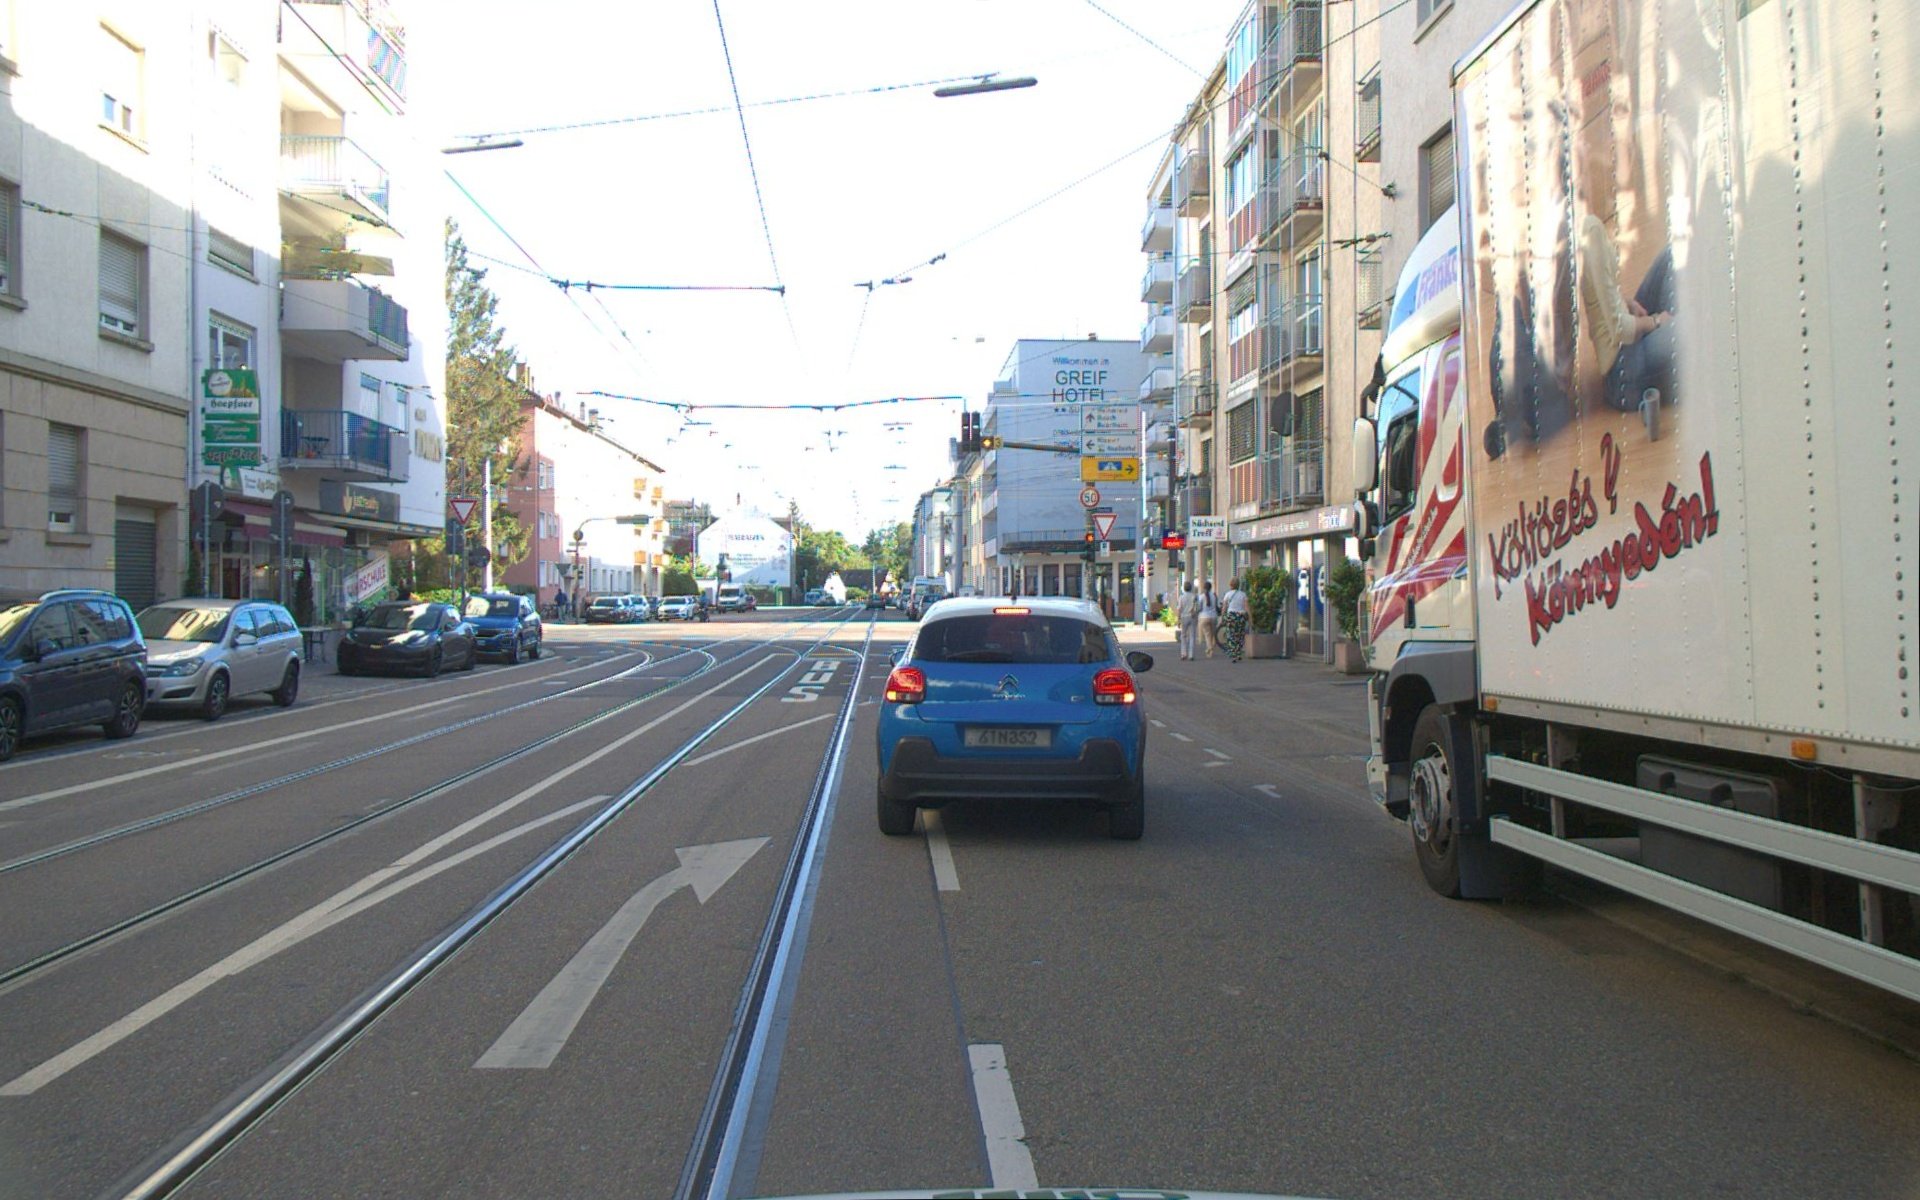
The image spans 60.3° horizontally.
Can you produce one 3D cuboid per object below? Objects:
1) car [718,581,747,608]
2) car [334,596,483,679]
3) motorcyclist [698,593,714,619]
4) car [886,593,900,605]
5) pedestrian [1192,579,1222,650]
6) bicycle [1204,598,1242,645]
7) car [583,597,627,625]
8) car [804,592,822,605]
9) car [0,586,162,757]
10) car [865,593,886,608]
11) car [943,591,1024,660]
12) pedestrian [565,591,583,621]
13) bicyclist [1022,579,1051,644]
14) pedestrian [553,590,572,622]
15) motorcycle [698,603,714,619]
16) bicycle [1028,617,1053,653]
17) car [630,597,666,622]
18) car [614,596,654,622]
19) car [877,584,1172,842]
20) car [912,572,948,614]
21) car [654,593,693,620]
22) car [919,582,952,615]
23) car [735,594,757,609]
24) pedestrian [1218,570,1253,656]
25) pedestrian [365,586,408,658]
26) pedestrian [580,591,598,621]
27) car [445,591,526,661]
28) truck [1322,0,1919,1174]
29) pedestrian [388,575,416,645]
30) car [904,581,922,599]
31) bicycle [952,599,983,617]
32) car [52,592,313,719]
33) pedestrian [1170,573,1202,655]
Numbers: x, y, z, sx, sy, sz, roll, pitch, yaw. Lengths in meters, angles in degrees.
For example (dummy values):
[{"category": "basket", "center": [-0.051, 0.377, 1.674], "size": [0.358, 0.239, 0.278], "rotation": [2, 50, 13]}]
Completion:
[{"category": "car", "center": [-19.617, -0.453, 142.763], "size": [2.163, 2.290, 4.673], "rotation": [-1, 0, -3]}, {"category": "car", "center": [-10.947, 0.716, 33.141], "size": [1.665, 1.536, 4.310], "rotation": [1, 0, -2]}, {"category": "motorcyclist", "center": [-13.910, 0.307, 90.600], "size": [0.704, 1.402, 0.911], "rotation": [-1, 0, 1]}, {"category": "car", "center": [-10.420, -0.149, 256.671], "size": [1.952, 1.825, 4.000], "rotation": [0, 0, 0]}, {"category": "pedestrian", "center": [5.502, 0.318, 36.870], "size": [0.530, 1.534, 0.611], "rotation": [-2, 2, -2]}, {"category": "bicycle", "center": [6.267, 0.503, 39.452], "size": [0.519, 1.091, 1.810], "rotation": [-1, 0, -3]}, {"category": "car", "center": [-19.805, 0.603, 92.339], "size": [1.874, 1.458, 3.996], "rotation": [-1, 0, -5]}, {"category": "car", "center": [-17.127, -0.205, 192.916], "size": [1.981, 1.552, 3.997], "rotation": [0, 0, -4]}, {"category": "car", "center": [-10.045, 0.675, 17.056], "size": [1.665, 1.644, 4.241], "rotation": [1, 0, -2]}, {"category": "car", "center": [-7.581, 0.055, 148.384], "size": [1.721, 1.281, 3.827], "rotation": [0, 0, -6]}, {"category": "car", "center": [0.504, 0.536, 36.956], "size": [1.703, 1.445, 4.000], "rotation": [0, 0, 0]}, {"category": "pedestrian", "center": [-22.698, 0.338, 97.196], "size": [0.826, 1.720, 0.737], "rotation": [0, 0, 3]}, {"category": "bicyclist", "center": [2.014, 0.294, 43.515], "size": [0.711, 1.674, 0.790], "rotation": [-1, 0, 0]}, {"category": "pedestrian", "center": [-21.895, 0.325, 91.044], "size": [0.826, 1.720, 0.737], "rotation": [0, 0, 3]}, {"category": "motorcycle", "center": [-13.917, 0.599, 90.755], "size": [0.603, 0.879, 1.671], "rotation": [-1, 0, 0]}, {"category": "bicycle", "center": [2.106, 0.904, 43.331], "size": [0.488, 0.879, 1.748], "rotation": [-1, 0, -2]}, {"category": "car", "center": [-20.630, 0.616, 109.478], "size": [1.873, 1.523, 3.997], "rotation": [-1, 0, -4]}, {"category": "car", "center": [-20.229, 0.552, 102.693], "size": [1.873, 1.523, 3.997], "rotation": [-1, 0, -4]}, {"category": "car", "center": [0.405, 0.656, 11.713], "size": [1.708, 1.488, 4.000], "rotation": [1, 0, 1]}, {"category": "car", "center": [-1.738, -0.419, 95.846], "size": [1.954, 2.366, 3.998], "rotation": [1, 0, -3]}, {"category": "car", "center": [-17.605, 0.382, 101.845], "size": [1.813, 1.601, 4.398], "rotation": [0, 0, -3]}, {"category": "car", "center": [-1.345, -0.069, 90.927], "size": [1.698, 1.780, 3.212], "rotation": [1, 0, -3]}, {"category": "car", "center": [-21.751, 0.135, 168.235], "size": [1.981, 1.552, 3.997], "rotation": [0, 0, -4]}, {"category": "pedestrian", "center": [5.570, 0.265, 33.460], "size": [0.530, 1.701, 0.650], "rotation": [-2, 0, -2]}, {"category": "pedestrian", "center": [-12.743, 0.479, 36.763], "size": [0.683, 1.575, 0.721], "rotation": [0, 1, 0]}, {"category": "pedestrian", "center": [-21.836, 0.346, 97.300], "size": [0.826, 1.720, 0.737], "rotation": [0, 0, 3]}, {"category": "car", "center": [-11.139, 0.593, 39.033], "size": [1.715, 1.536, 3.984], "rotation": [1, 0, -15]}, {"category": "truck", "center": [3.782, -0.652, 4.242], "size": [2.802, 4.144, 11.775], "rotation": [-1, 0, -1]}, {"category": "pedestrian", "center": [-16.521, 0.291, 48.945], "size": [0.673, 2.049, 0.486], "rotation": [0, 0, -6]}, {"category": "car", "center": [-4.393, -0.909, 154.858], "size": [1.655, 1.646, 3.998], "rotation": [1, 0, -2]}, {"category": "bicycle", "center": [0.437, 0.451, 91.799], "size": [1.684, 0.973, 0.702], "rotation": [-1, 0, 2]}, {"category": "car", "center": [-10.449, 0.701, 22.618], "size": [1.665, 1.536, 4.383], "rotation": [1, 0, -3]}, {"category": "pedestrian", "center": [4.827, 0.296, 35.352], "size": [0.530, 1.701, 0.624], "rotation": [-2, 2, -2]}]
